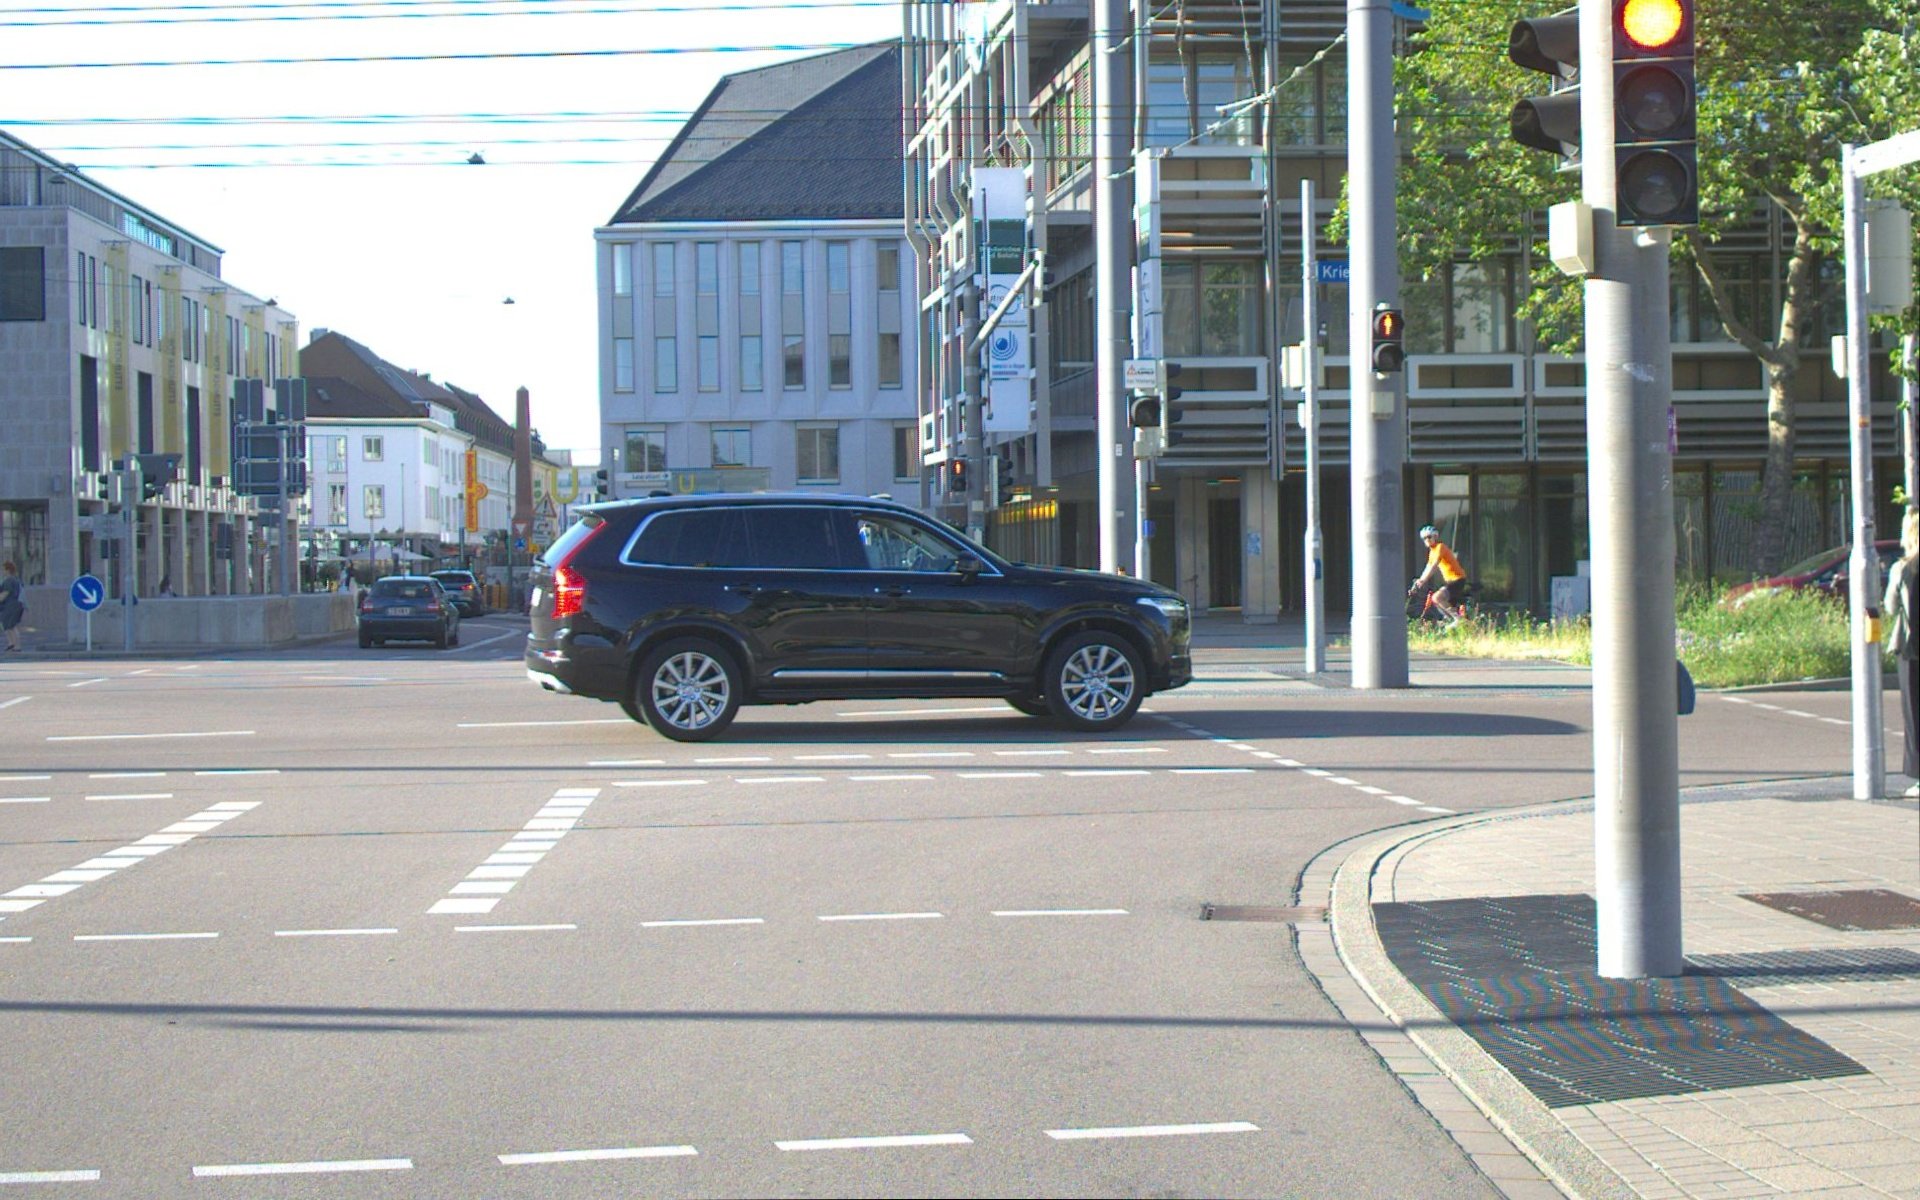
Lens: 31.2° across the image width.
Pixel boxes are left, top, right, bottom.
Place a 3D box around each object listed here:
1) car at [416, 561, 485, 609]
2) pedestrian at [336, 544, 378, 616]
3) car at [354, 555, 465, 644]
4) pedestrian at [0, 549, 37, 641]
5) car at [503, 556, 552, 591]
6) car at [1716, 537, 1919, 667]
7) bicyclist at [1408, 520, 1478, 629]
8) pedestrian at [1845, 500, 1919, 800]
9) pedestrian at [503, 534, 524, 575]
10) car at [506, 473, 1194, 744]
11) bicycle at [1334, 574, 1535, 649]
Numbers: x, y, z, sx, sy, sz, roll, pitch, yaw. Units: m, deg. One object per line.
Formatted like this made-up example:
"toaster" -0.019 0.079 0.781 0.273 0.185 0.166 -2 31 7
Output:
"car" -16.007 -0.483 108.079 1.658 1.453 3.542 -1 1 -1
"pedestrian" -15.169 -0.509 86.465 0.899 1.776 0.808 -1 1 -1
"car" -10.907 -0.030 68.342 1.819 1.678 4.001 -1 1 -4
"pedestrian" -17.410 -0.098 63.184 0.700 1.682 0.619 -1 1 0
"car" -18.362 -1.127 146.061 1.658 1.453 3.542 -1 1 -1
"car" 12.608 -0.003 46.454 4.287 1.678 1.826 -1 1 -10
"bicyclist" 6.620 -0.357 47.125 0.822 1.469 0.652 -1 1 -4
"pedestrian" 5.385 0.257 18.929 0.765 1.608 0.874 -1 1 -2
"pedestrian" -21.379 -2.162 164.686 0.910 1.958 0.823 1 0 -1
"car" -0.860 0.029 25.417 4.815 1.857 1.887 -1 1 -11
"bicycle" 6.485 0.152 47.116 2.568 0.972 1.047 -1 1 -3
